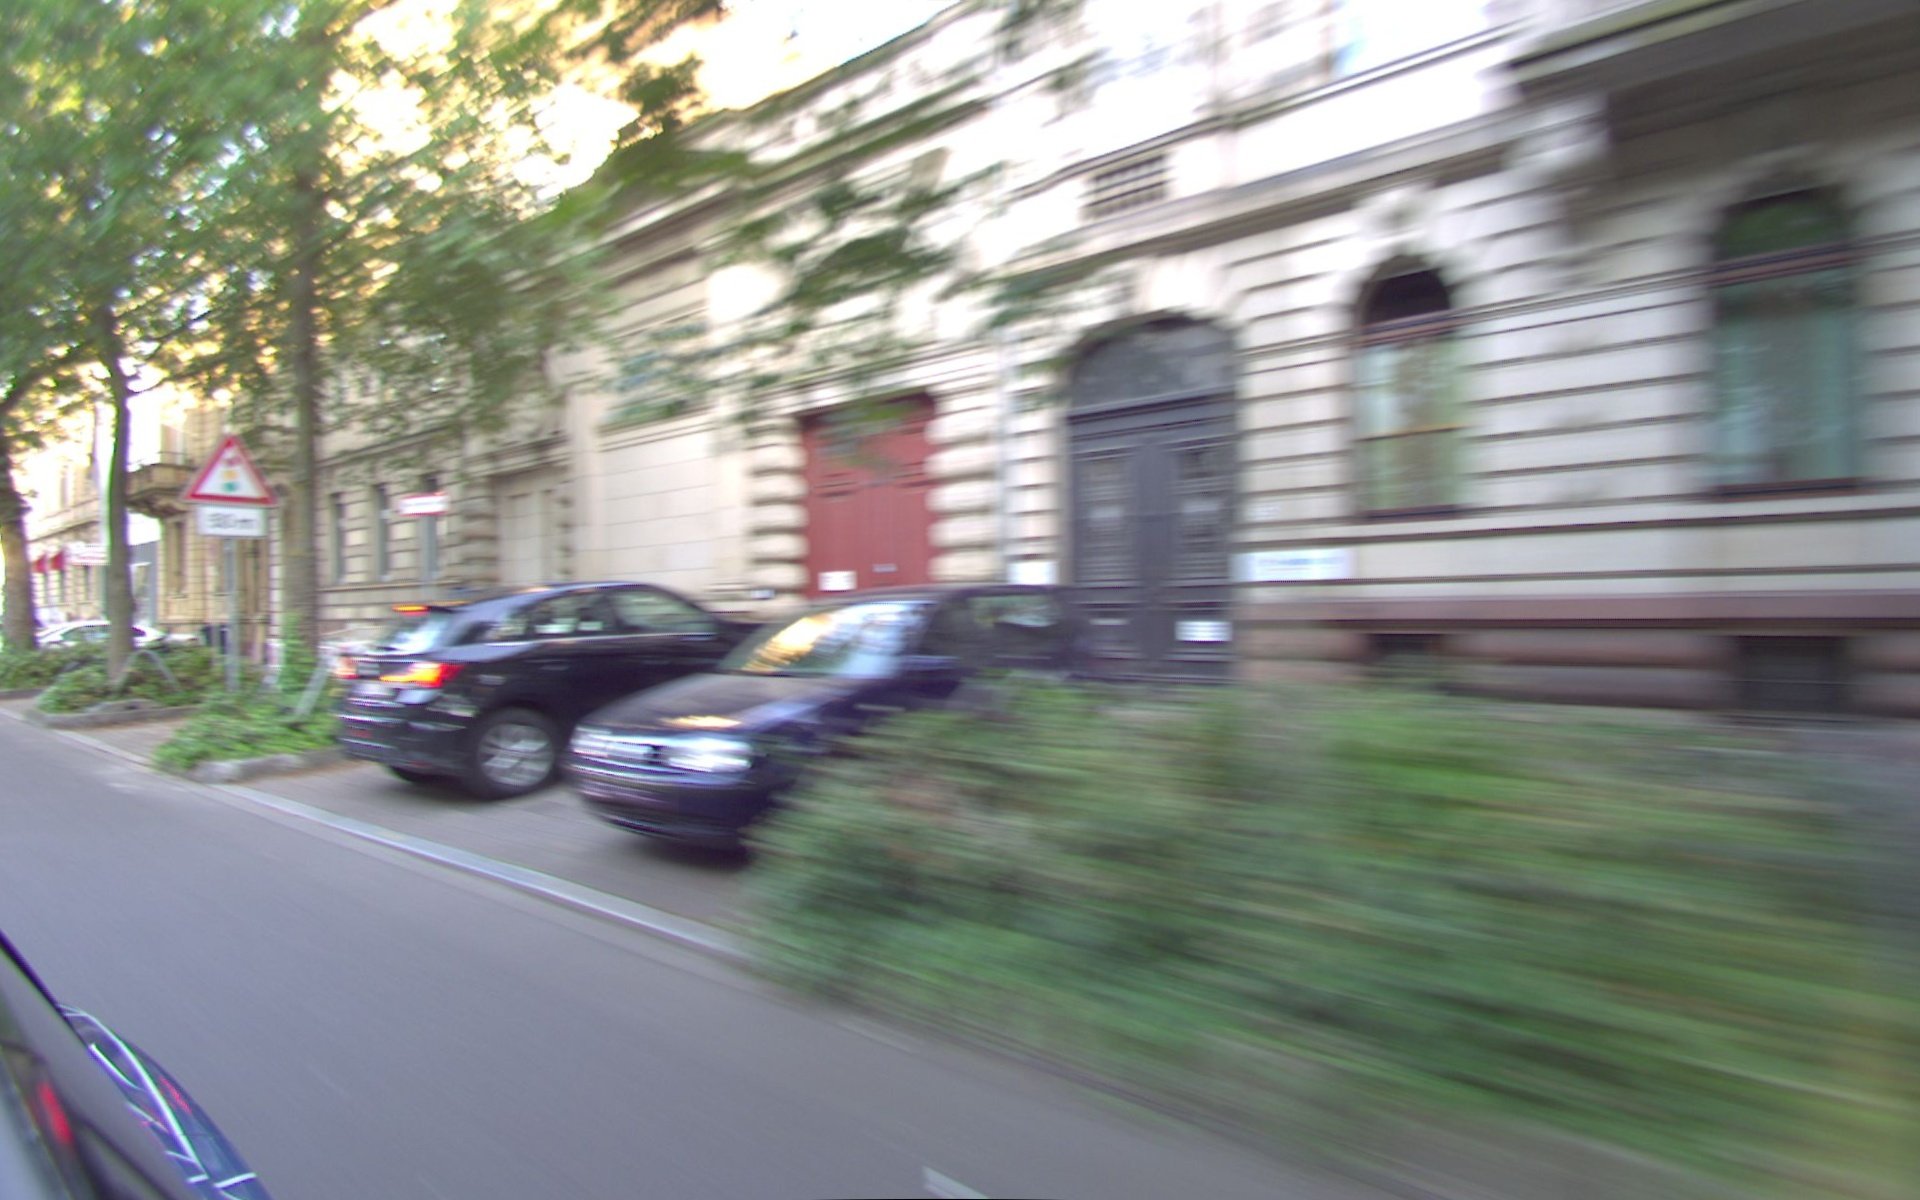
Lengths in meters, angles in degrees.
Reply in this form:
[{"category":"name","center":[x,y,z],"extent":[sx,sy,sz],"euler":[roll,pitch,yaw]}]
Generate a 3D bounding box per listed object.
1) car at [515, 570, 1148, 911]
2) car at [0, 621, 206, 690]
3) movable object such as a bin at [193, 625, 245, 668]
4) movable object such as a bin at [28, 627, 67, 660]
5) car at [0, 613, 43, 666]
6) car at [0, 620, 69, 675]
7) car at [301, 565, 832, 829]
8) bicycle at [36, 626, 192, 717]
[{"category":"car","center":[-0.545,0.619,6.640],"extent":[1.763,1.397,3.926],"euler":[-3,2,40]},{"category":"car","center":[-20.442,1.243,23.425],"extent":[1.915,1.401,4.468],"euler":[-1,0,40]},{"category":"movable object such as a bin","center":[-20.107,1.255,27.458],"extent":[1.315,1.069,0.793],"euler":[-2,1,39]},{"category":"movable object such as a bin","center":[-30.428,1.448,33.754],"extent":[1.315,1.070,0.767],"euler":[-2,-1,39]},{"category":"car","center":[-34.385,1.446,34.469],"extent":[1.887,1.735,4.384],"euler":[-2,1,37]},{"category":"car","center":[-28.789,1.411,29.443],"extent":[1.826,1.569,4.127],"euler":[-2,0,41]},{"category":"car","center":[-3.201,0.617,8.904],"extent":[1.779,1.608,3.927],"euler":[-1,3,39]},{"category":"bicycle","center":[-12.749,1.041,15.292],"extent":[0.500,1.241,1.751],"euler":[0,1,44]}]
